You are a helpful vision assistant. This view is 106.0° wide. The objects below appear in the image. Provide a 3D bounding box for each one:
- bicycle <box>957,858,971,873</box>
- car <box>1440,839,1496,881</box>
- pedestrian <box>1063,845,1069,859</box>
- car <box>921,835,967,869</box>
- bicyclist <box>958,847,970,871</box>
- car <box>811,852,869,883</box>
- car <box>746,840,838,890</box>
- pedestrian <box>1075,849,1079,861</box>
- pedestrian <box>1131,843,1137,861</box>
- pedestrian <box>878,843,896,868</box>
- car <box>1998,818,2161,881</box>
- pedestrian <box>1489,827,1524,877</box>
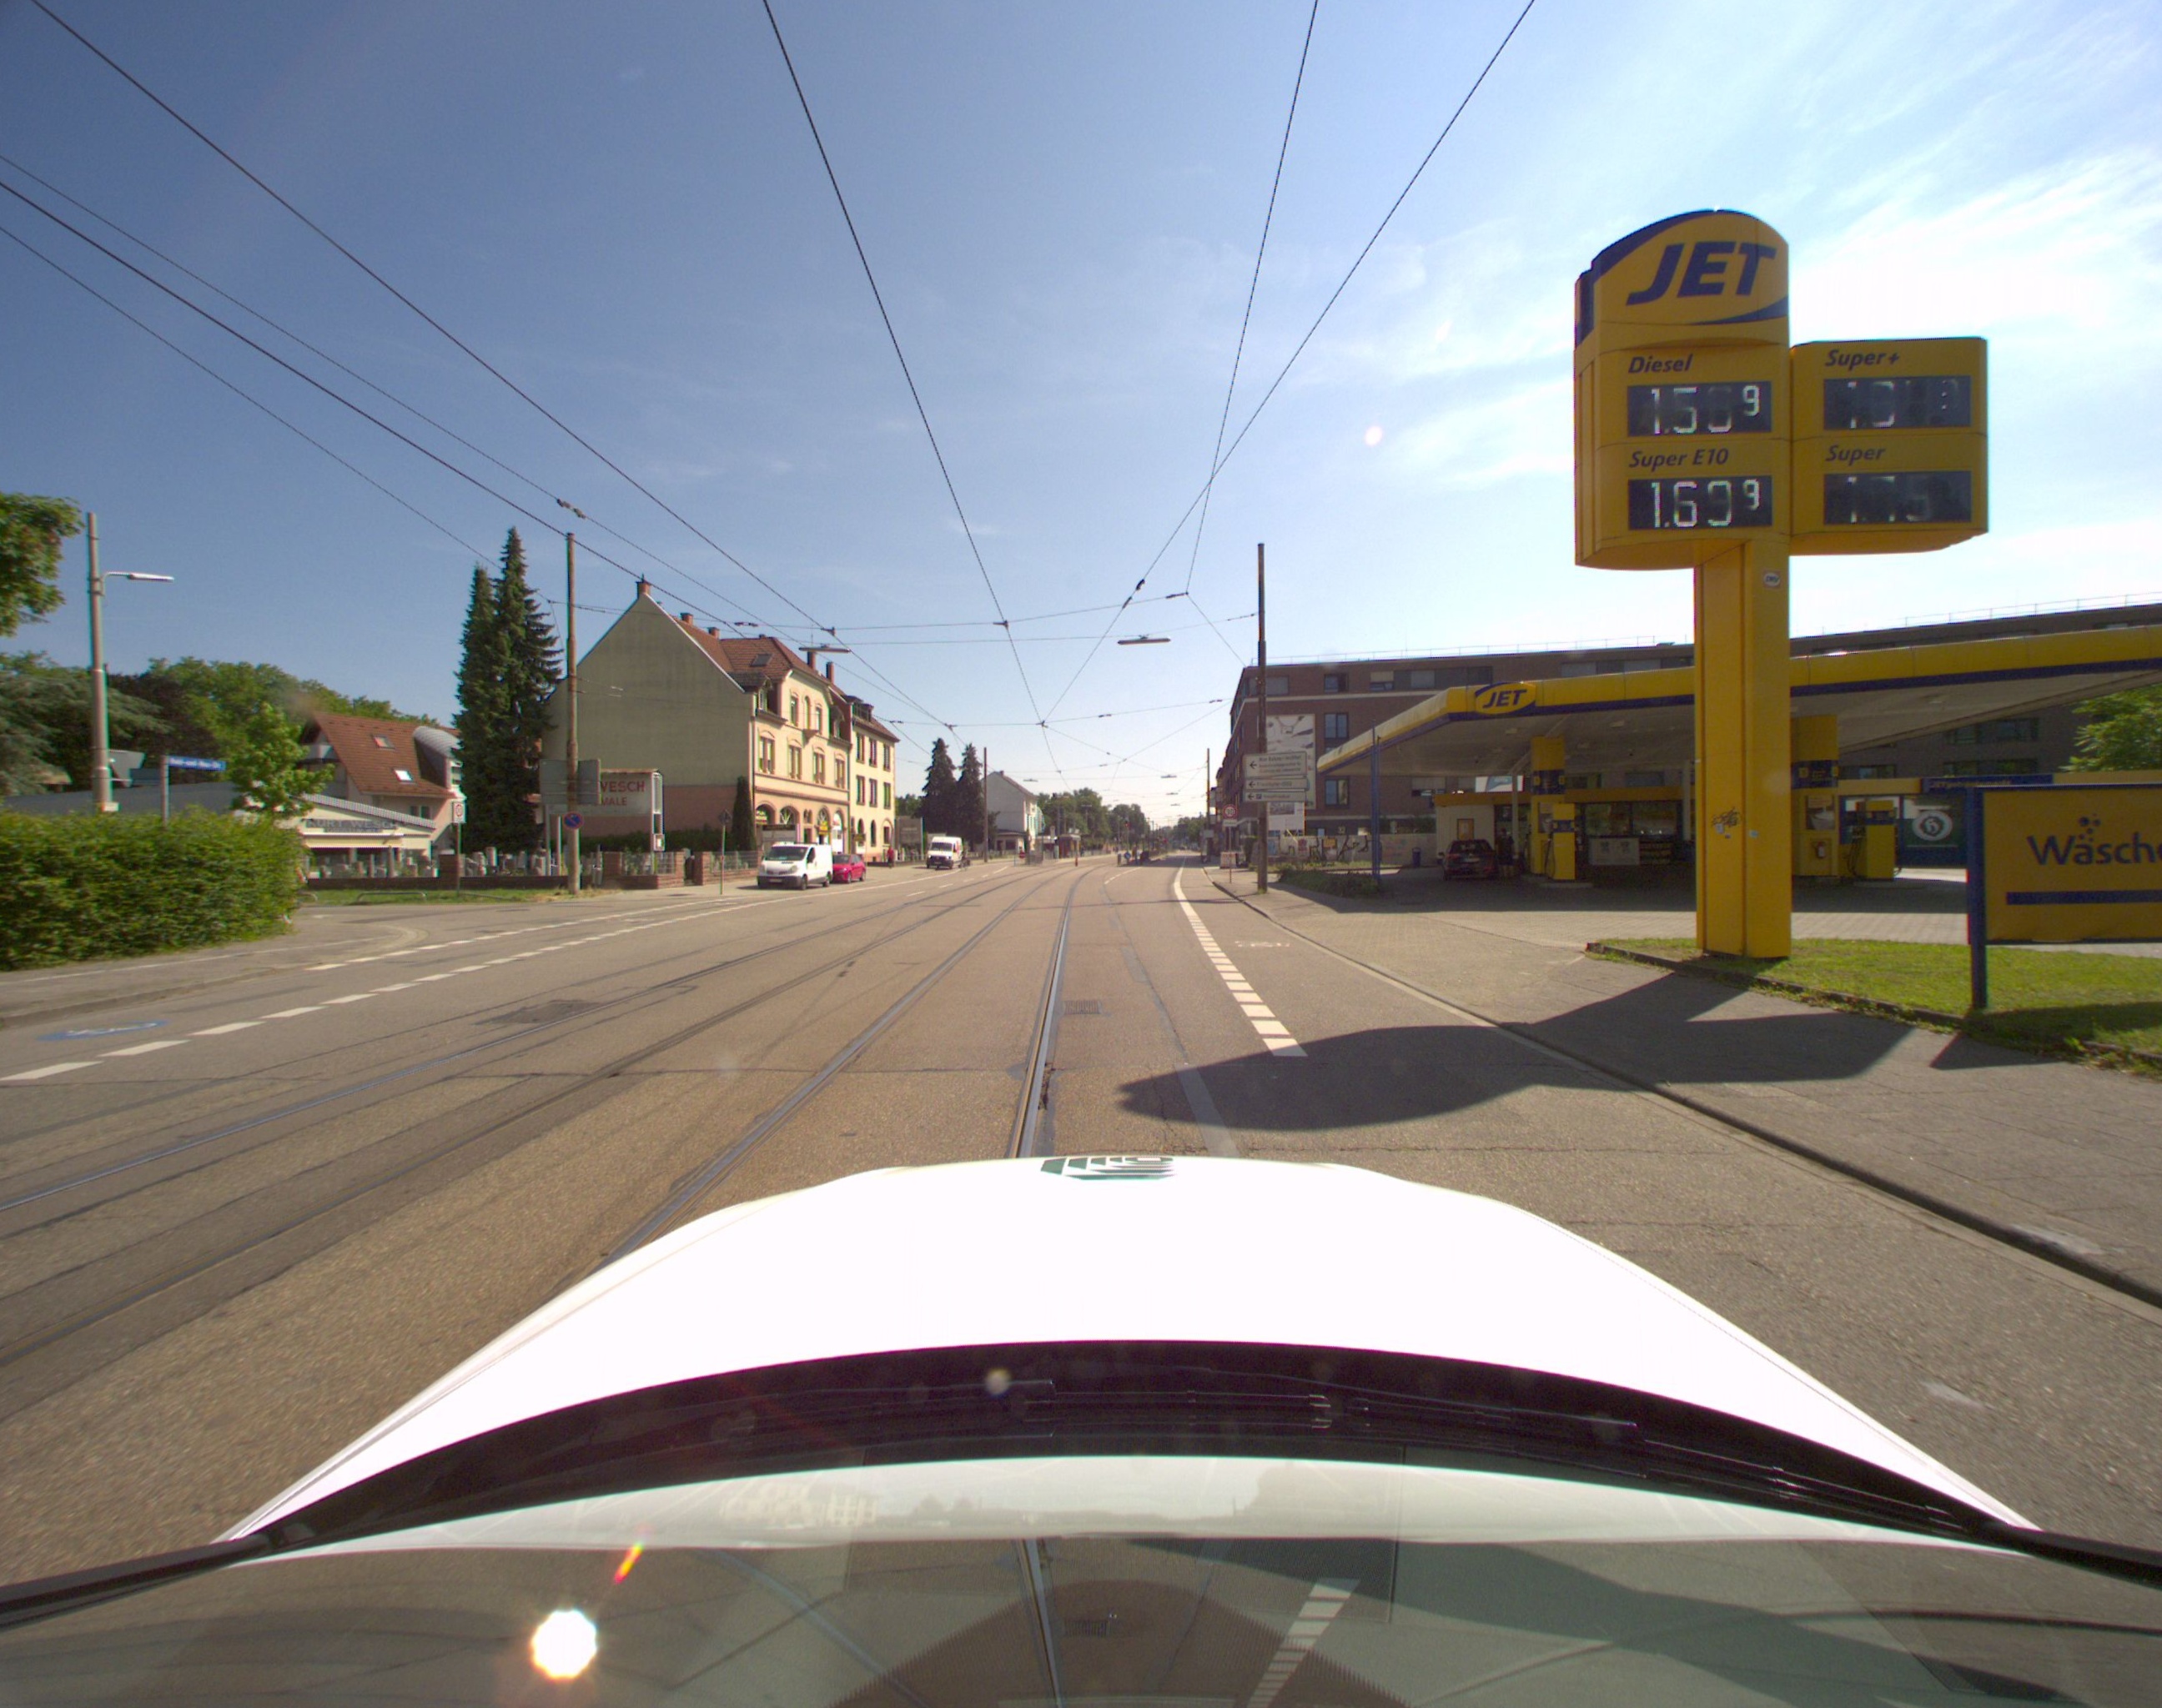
[{"bbox_3d":[-8.472,0.823,59.261,0.606,0.984,2.165,-1,0,3],"label":"bicycle"},{"bbox_3d":[14.297,0.178,30.151,1.740,1.455,4.435,-1,0,25],"label":"car"},{"bbox_3d":[-1.838,-0.238,98.955,0.703,1.690,0.416,-1,0,0],"label":"pedestrian"},{"bbox_3d":[-10.939,-0.197,65.635,2.321,2.535,6.509,2,0,2],"label":"car"},{"bbox_3d":[-8.554,0.363,59.342,0.714,1.724,0.988,-1,0,0],"label":"bicyclist"},{"bbox_3d":[-12.300,0.658,41.834,1.714,1.406,4.002,-1,1,1],"label":"car"},{"bbox_3d":[-12.496,0.441,35.578,2.076,2.013,4.910,0,0,2],"label":"car"},{"bbox_3d":[-0.508,0.158,109.770,0.414,1.690,0.706,-1,0,-6],"label":"pedestrian"},{"bbox_3d":[5.246,-0.180,80.777,0.554,1.760,0.794,-1,0,2],"label":"pedestrian"},{"bbox_3d":[-14.359,0.107,60.314,0.936,1.815,1.133,0,0,10],"label":"pedestrian"},{"bbox_3d":[34.607,-0.169,28.032,1.741,1.982,5.335,-1,0,21],"label":"car"},{"bbox_3d":[14.925,-0.060,28.552,0.852,1.725,0.746,-1,1,3],"label":"pedestrian"}]
